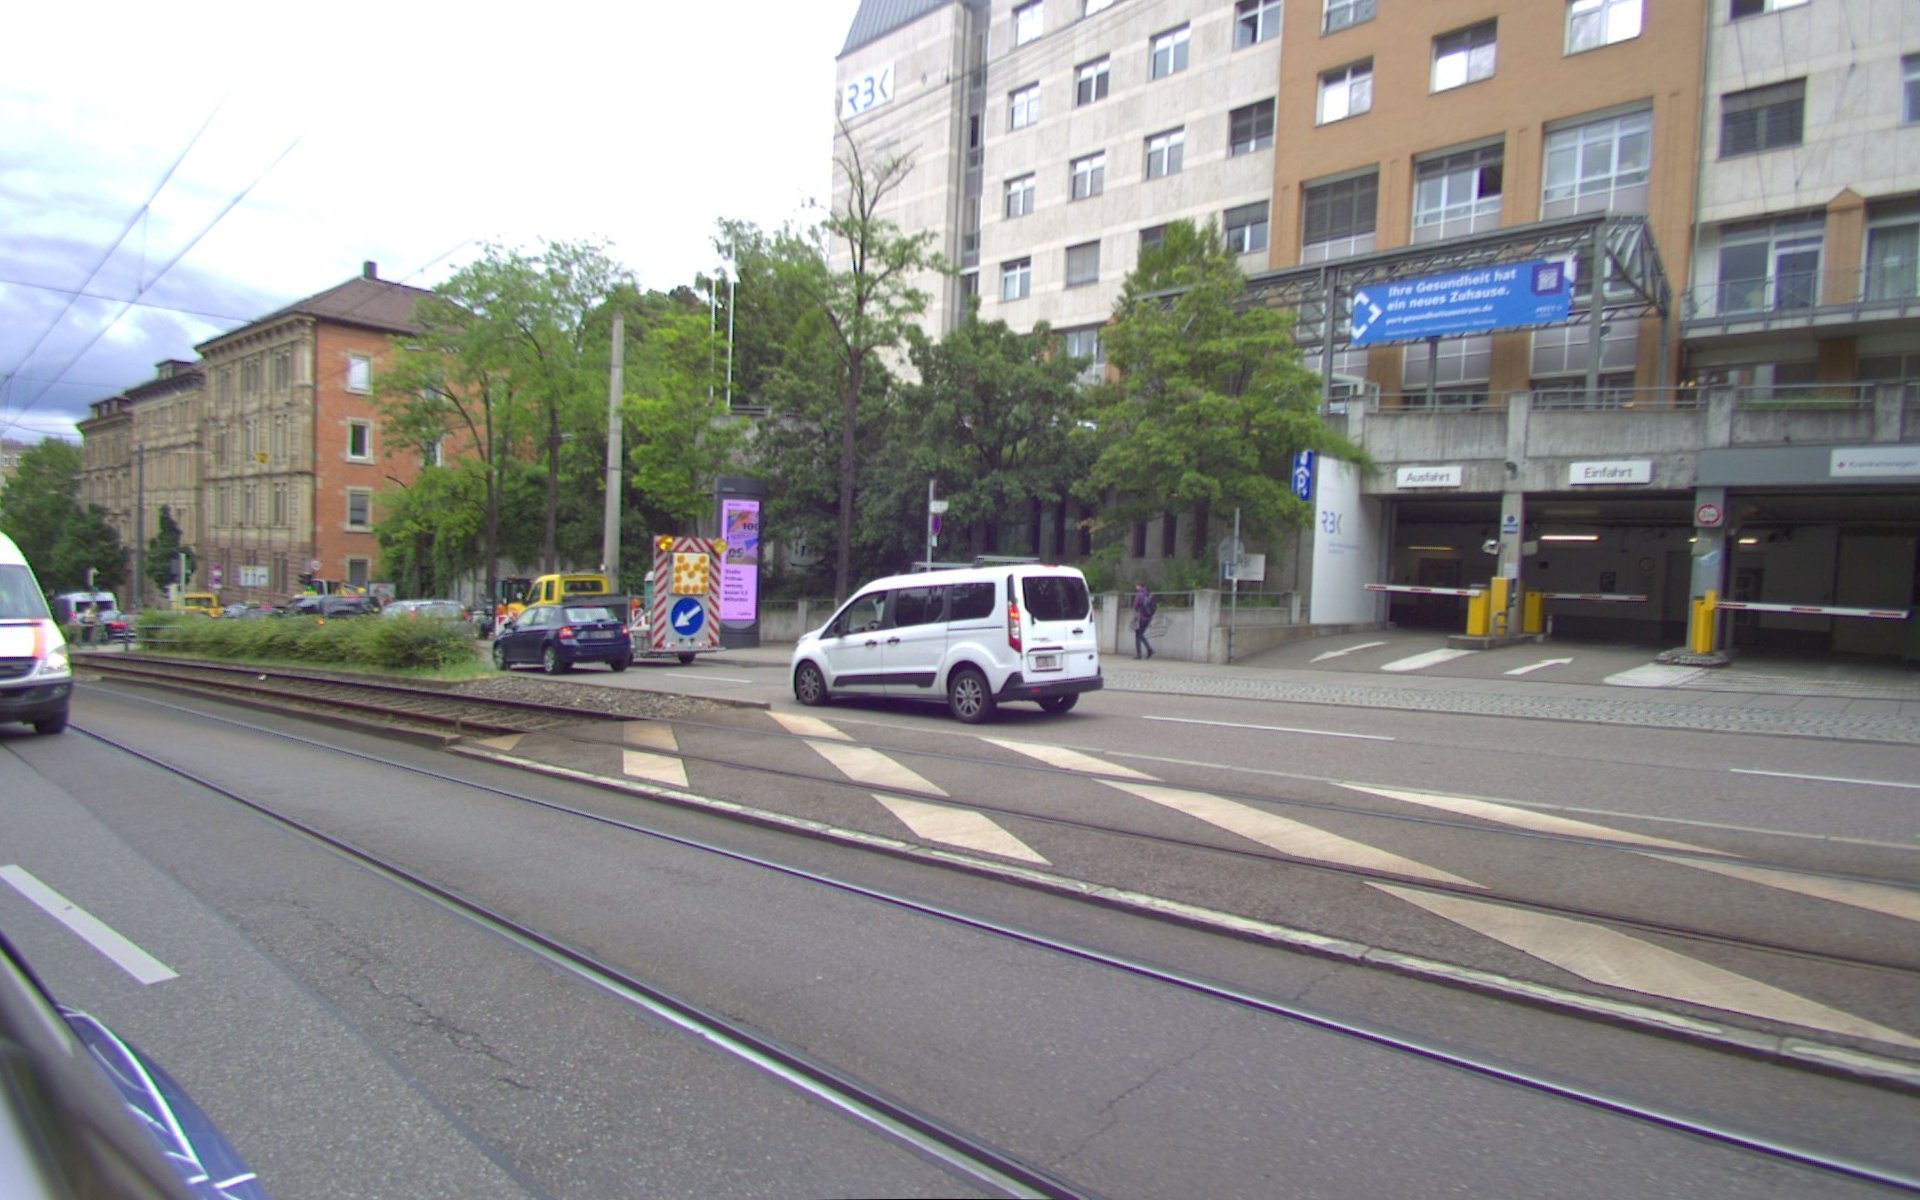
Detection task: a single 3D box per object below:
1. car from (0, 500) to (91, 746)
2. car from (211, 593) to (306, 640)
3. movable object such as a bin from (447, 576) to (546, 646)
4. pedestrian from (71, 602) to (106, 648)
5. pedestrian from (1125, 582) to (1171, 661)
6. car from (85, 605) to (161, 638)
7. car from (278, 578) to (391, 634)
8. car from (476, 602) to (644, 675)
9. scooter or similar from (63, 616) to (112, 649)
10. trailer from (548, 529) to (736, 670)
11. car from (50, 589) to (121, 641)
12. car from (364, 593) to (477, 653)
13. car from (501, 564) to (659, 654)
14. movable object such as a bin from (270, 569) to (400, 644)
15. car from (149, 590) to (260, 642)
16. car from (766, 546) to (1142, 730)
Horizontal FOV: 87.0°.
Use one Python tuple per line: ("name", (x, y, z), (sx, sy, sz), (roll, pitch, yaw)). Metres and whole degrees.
("car", (-13.176, 0.305, 12.643), (5.838, 2.720, 2.017), (-1, 0, 34))
("car", (-25.960, 0.611, 37.403), (4.620, 1.617, 1.972), (-1, -1, 43))
("movable object such as a bin", (-17.501, 0.416, 38.128), (4.097, 2.486, 1.912), (-2, 1, 43))
("pedestrian", (-35.152, 0.996, 40.816), (0.786, 1.831, 0.737), (-1, -2, 16))
("pedestrian", (3.875, 0.440, 20.856), (0.728, 1.572, 0.649), (-1, -1, 36))
("car", (-38.736, 0.985, 46.805), (3.991, 1.473, 1.763), (-1, -1, 36))
("car", (-19.658, 0.210, 31.739), (4.611, 1.617, 1.971), (-1, -1, 44))
("car", (-8.656, 0.786, 21.724), (4.081, 1.418, 1.747), (-1, -1, 42))
("scooter or similar", (-34.916, 1.293, 40.524), (0.527, 1.306, 1.494), (-1, -1, 8))
("trailer", (-7.748, -0.023, 24.298), (1.996, 2.995, 5.595), (-2, 1, -43))
("car", (-49.975, 0.845, 57.806), (4.777, 2.844, 2.188), (-1, -1, 38))
("car", (-14.143, 0.578, 26.455), (1.640, 1.454, 3.742), (0, -1, -45))
("car", (-12.279, 0.313, 32.409), (6.335, 2.613, 2.133), (-1, -1, 43))
("movable object such as a bin", (-31.652, 0.364, 51.236), (6.519, 3.575, 2.729), (-1, -1, 28))
("car", (-37.316, 0.767, 49.916), (6.738, 2.454, 2.419), (-1, 0, 35))
("car", (-0.273, 0.447, 13.254), (5.004, 1.961, 1.925), (-2, -1, 44))
